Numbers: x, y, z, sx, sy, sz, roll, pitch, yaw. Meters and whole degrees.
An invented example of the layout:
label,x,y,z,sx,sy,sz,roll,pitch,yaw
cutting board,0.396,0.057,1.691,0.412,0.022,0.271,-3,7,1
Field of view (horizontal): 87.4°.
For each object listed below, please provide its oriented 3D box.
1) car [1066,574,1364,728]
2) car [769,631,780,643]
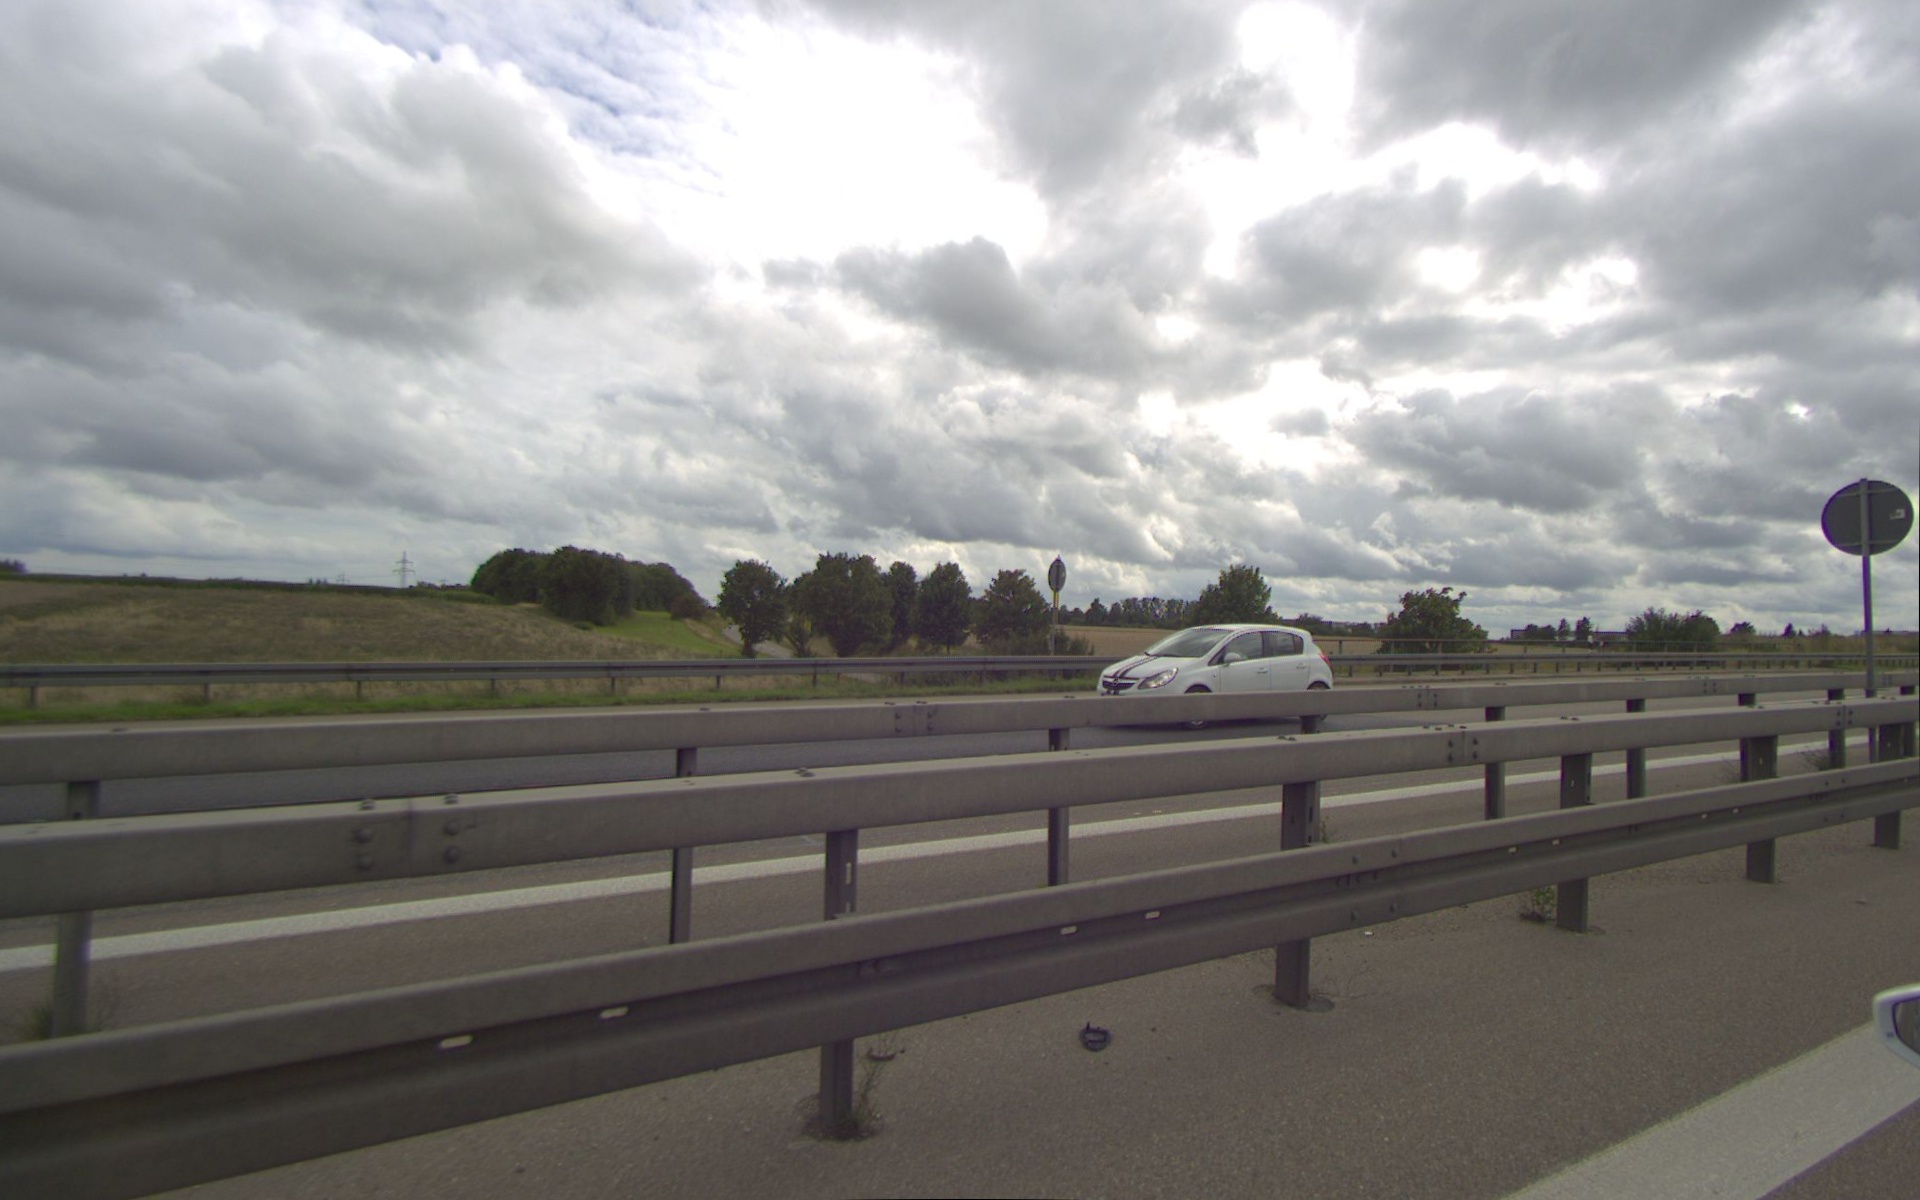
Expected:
label,x,y,z,sx,sy,sz,roll,pitch,yaw
car,3.957,0.777,15.397,4.336,2.040,1.982,3,-2,-32
car,-32.556,6.510,176.044,1.849,1.951,3.737,2,-2,-11
